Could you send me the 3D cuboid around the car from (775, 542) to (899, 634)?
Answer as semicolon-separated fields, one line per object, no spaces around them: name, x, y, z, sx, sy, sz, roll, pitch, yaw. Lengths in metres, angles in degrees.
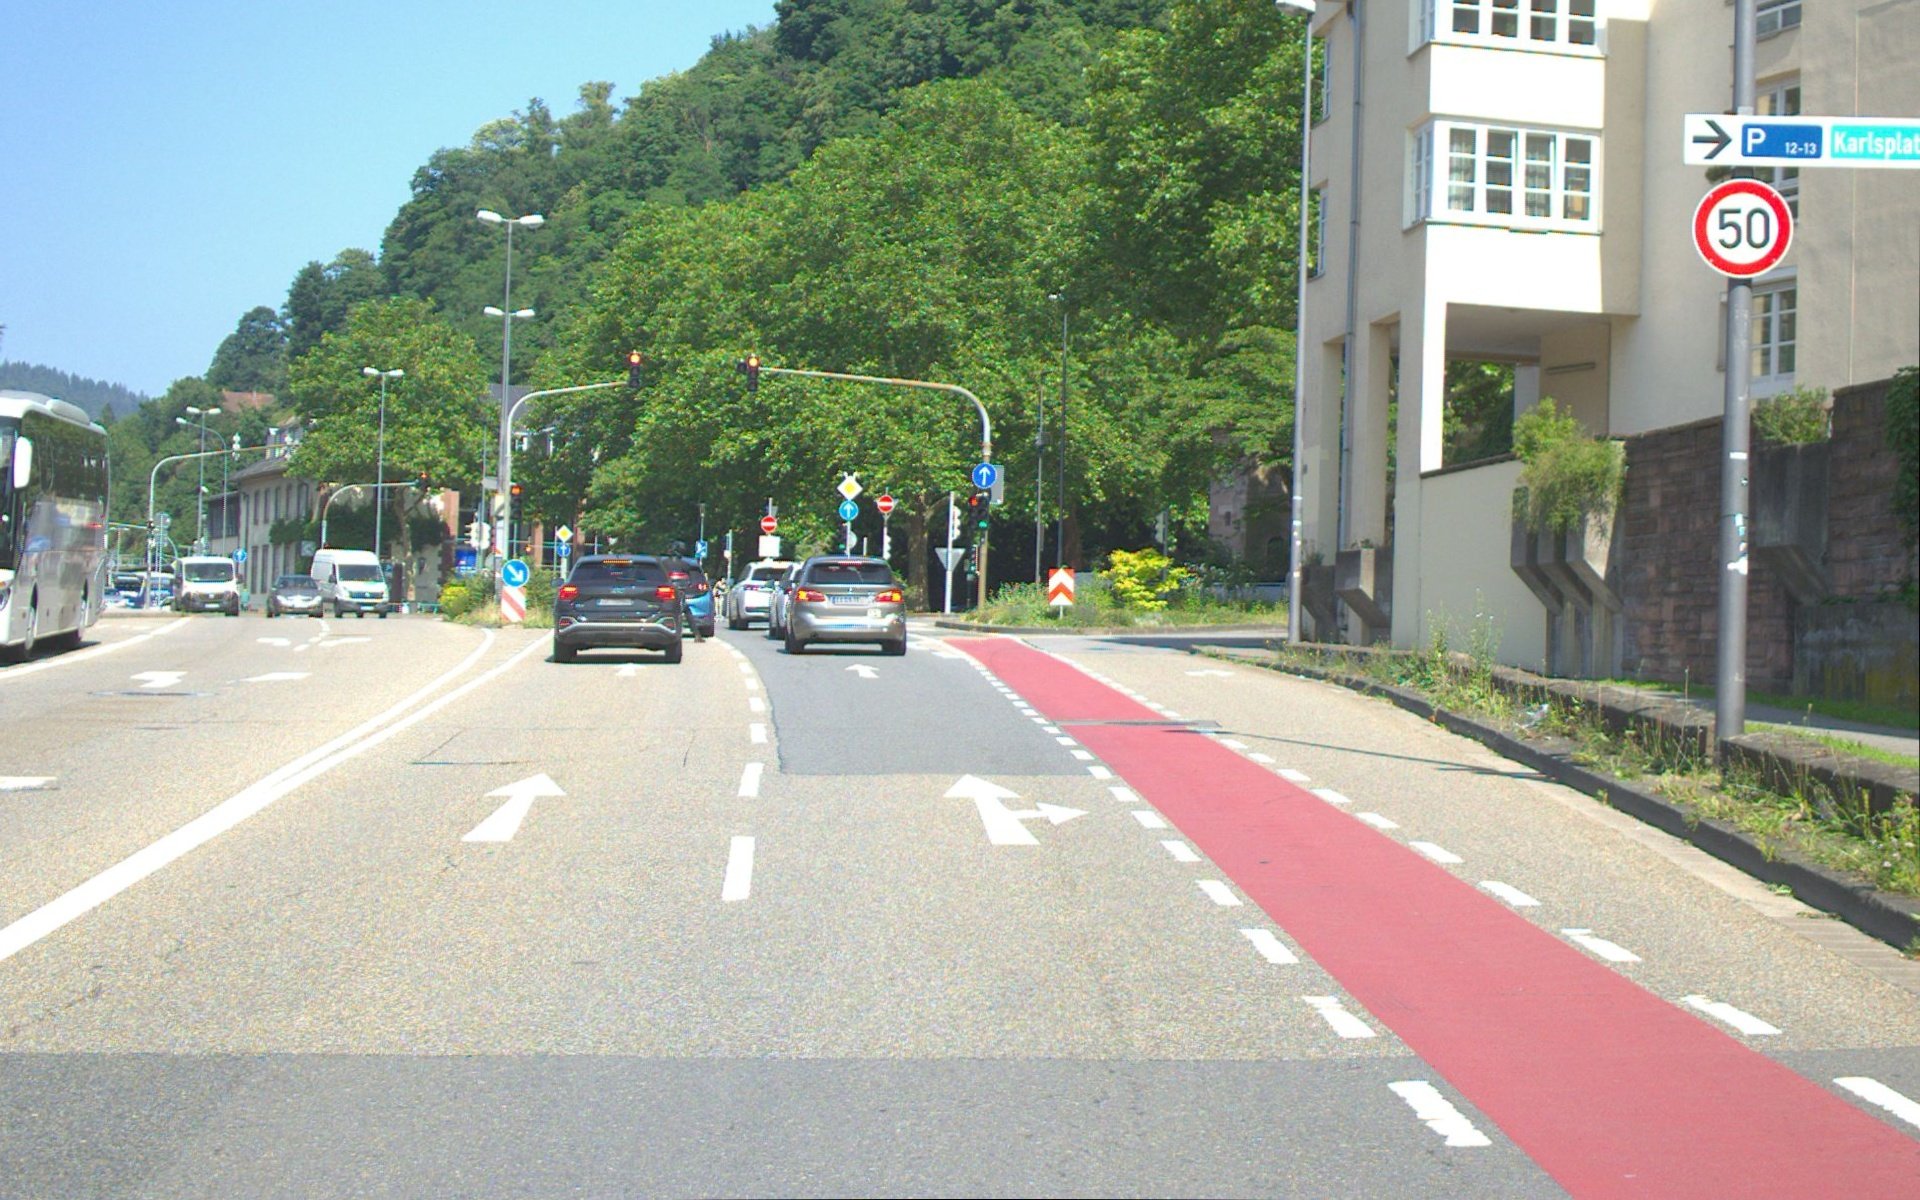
car;-2.244;-0.220;61.584;1.993;1.528;4.859;2;0;-4

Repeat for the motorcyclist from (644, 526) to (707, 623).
motorcyclist;-5.003;-0.447;60.535;1.075;1.678;1.156;1;1;-4

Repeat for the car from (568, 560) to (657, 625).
car;-7.568;-0.177;74.692;1.866;1.354;4.001;1;1;-6

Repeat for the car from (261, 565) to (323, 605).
car;-24.925;-0.571;128.240;1.993;1.427;4.168;0;1;-15

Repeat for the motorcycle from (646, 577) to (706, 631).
motorcycle;-5.016;0.059;60.870;1.037;0.916;2.605;1;1;-4

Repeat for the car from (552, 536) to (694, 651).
car;-4.771;-0.097;49.027;1.869;1.508;4.151;2;0;-5

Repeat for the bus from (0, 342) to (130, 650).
bus;-14.085;-1.506;49.000;2.956;3.787;13.247;5;0;-9

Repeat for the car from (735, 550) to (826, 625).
car;-3.944;-0.282;74.886;1.785;1.527;4.737;-2;0;-5

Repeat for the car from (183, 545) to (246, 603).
car;-27.592;-0.992;127.240;2.213;2.071;5.045;0;1;-13

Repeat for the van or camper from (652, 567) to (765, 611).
van or camper;-11.051;-0.472;151.223;4.544;1.895;1.999;0;0;12

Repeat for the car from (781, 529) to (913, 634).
car;-1.822;-0.284;54.281;1.888;1.516;4.306;2;0;-4

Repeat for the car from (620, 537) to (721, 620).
car;-5.678;-0.441;67.137;1.866;1.557;4.001;1;1;-6

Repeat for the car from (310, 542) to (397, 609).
car;-23.820;-0.978;134.814;2.383;2.568;6.057;0;0;-19
